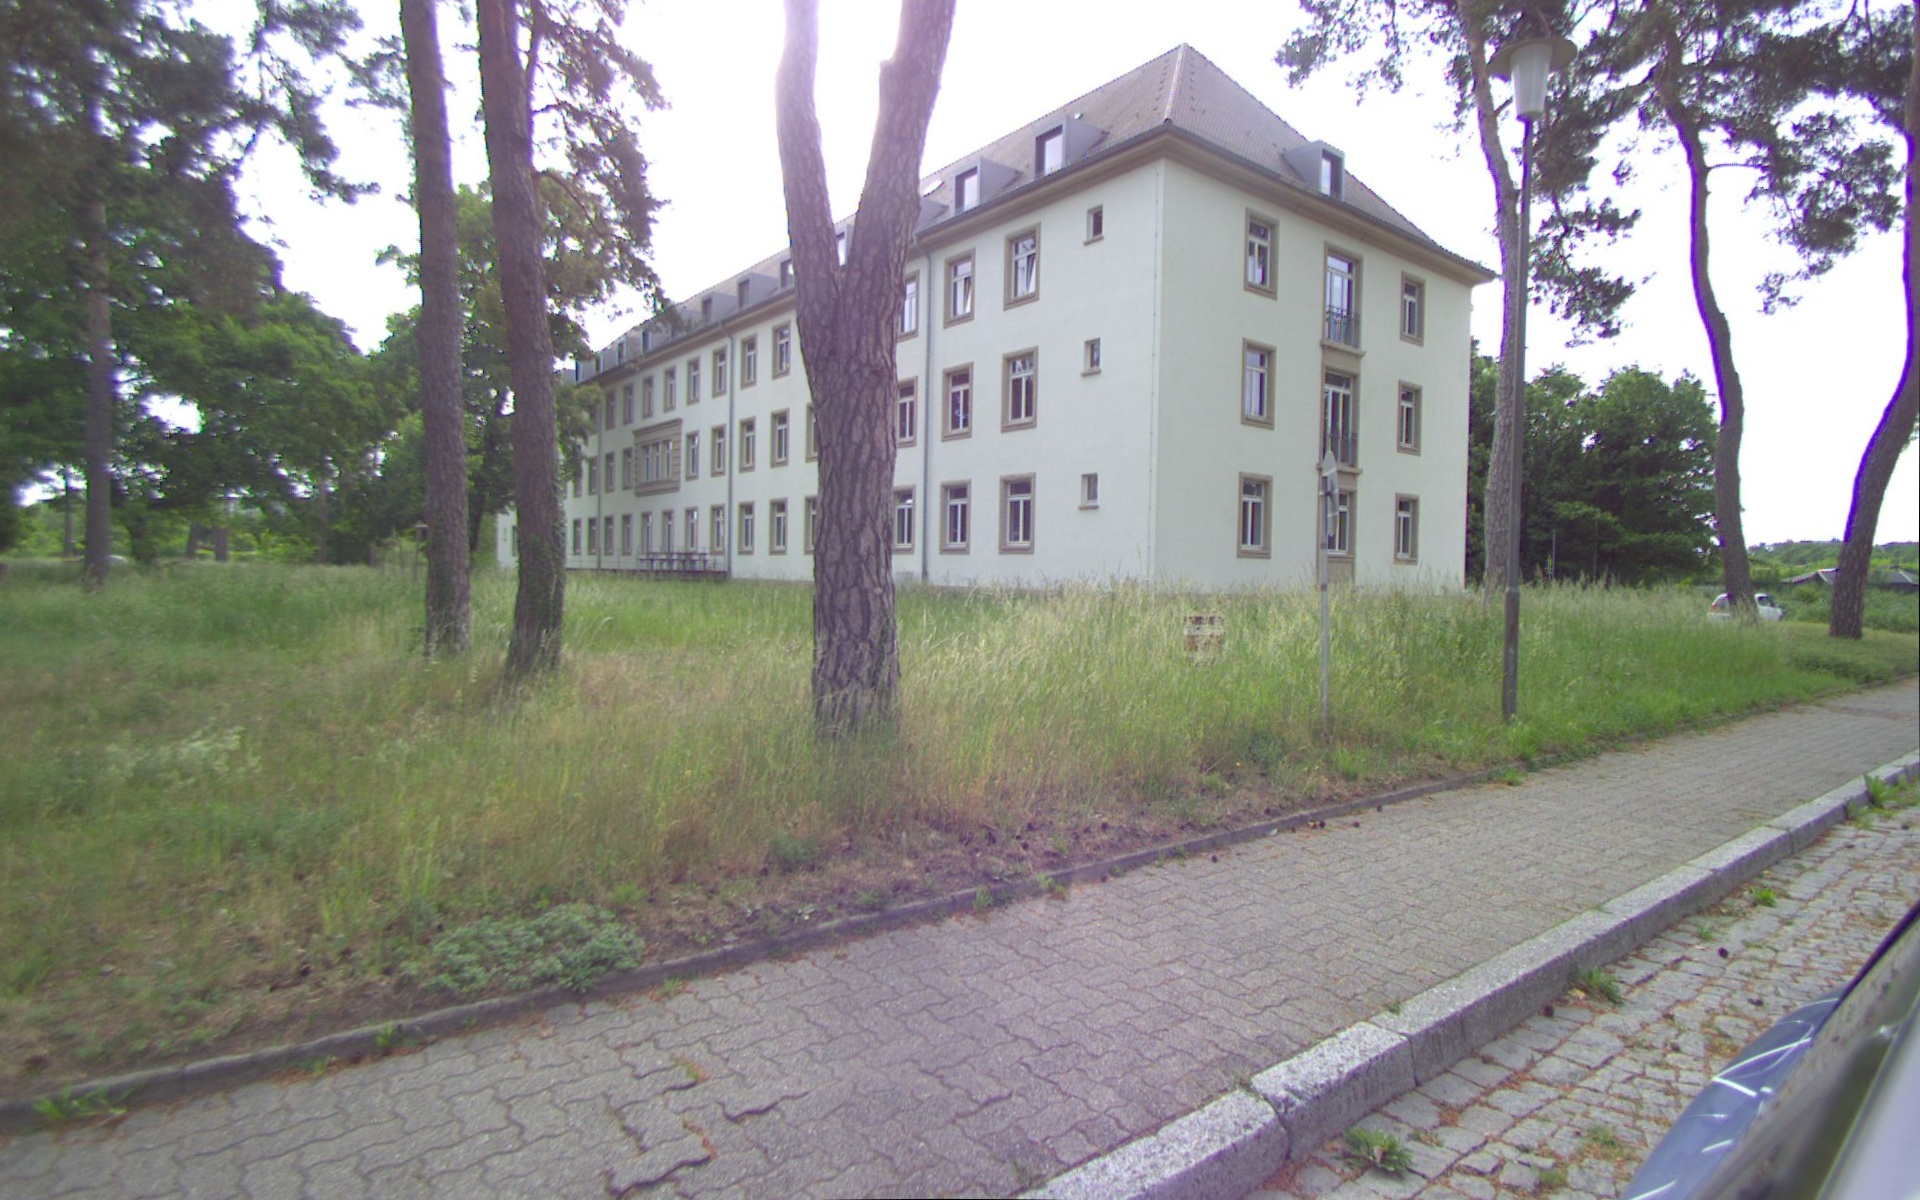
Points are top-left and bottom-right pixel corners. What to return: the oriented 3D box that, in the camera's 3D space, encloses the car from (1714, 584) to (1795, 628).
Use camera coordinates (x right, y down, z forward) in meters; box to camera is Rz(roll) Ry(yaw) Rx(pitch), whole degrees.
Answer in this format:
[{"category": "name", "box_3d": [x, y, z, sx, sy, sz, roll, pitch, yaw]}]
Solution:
[{"category": "car", "box_3d": [29.700, 0.199, 37.805, 3.219, 1.451, 1.641, -3, 3, -38]}]
